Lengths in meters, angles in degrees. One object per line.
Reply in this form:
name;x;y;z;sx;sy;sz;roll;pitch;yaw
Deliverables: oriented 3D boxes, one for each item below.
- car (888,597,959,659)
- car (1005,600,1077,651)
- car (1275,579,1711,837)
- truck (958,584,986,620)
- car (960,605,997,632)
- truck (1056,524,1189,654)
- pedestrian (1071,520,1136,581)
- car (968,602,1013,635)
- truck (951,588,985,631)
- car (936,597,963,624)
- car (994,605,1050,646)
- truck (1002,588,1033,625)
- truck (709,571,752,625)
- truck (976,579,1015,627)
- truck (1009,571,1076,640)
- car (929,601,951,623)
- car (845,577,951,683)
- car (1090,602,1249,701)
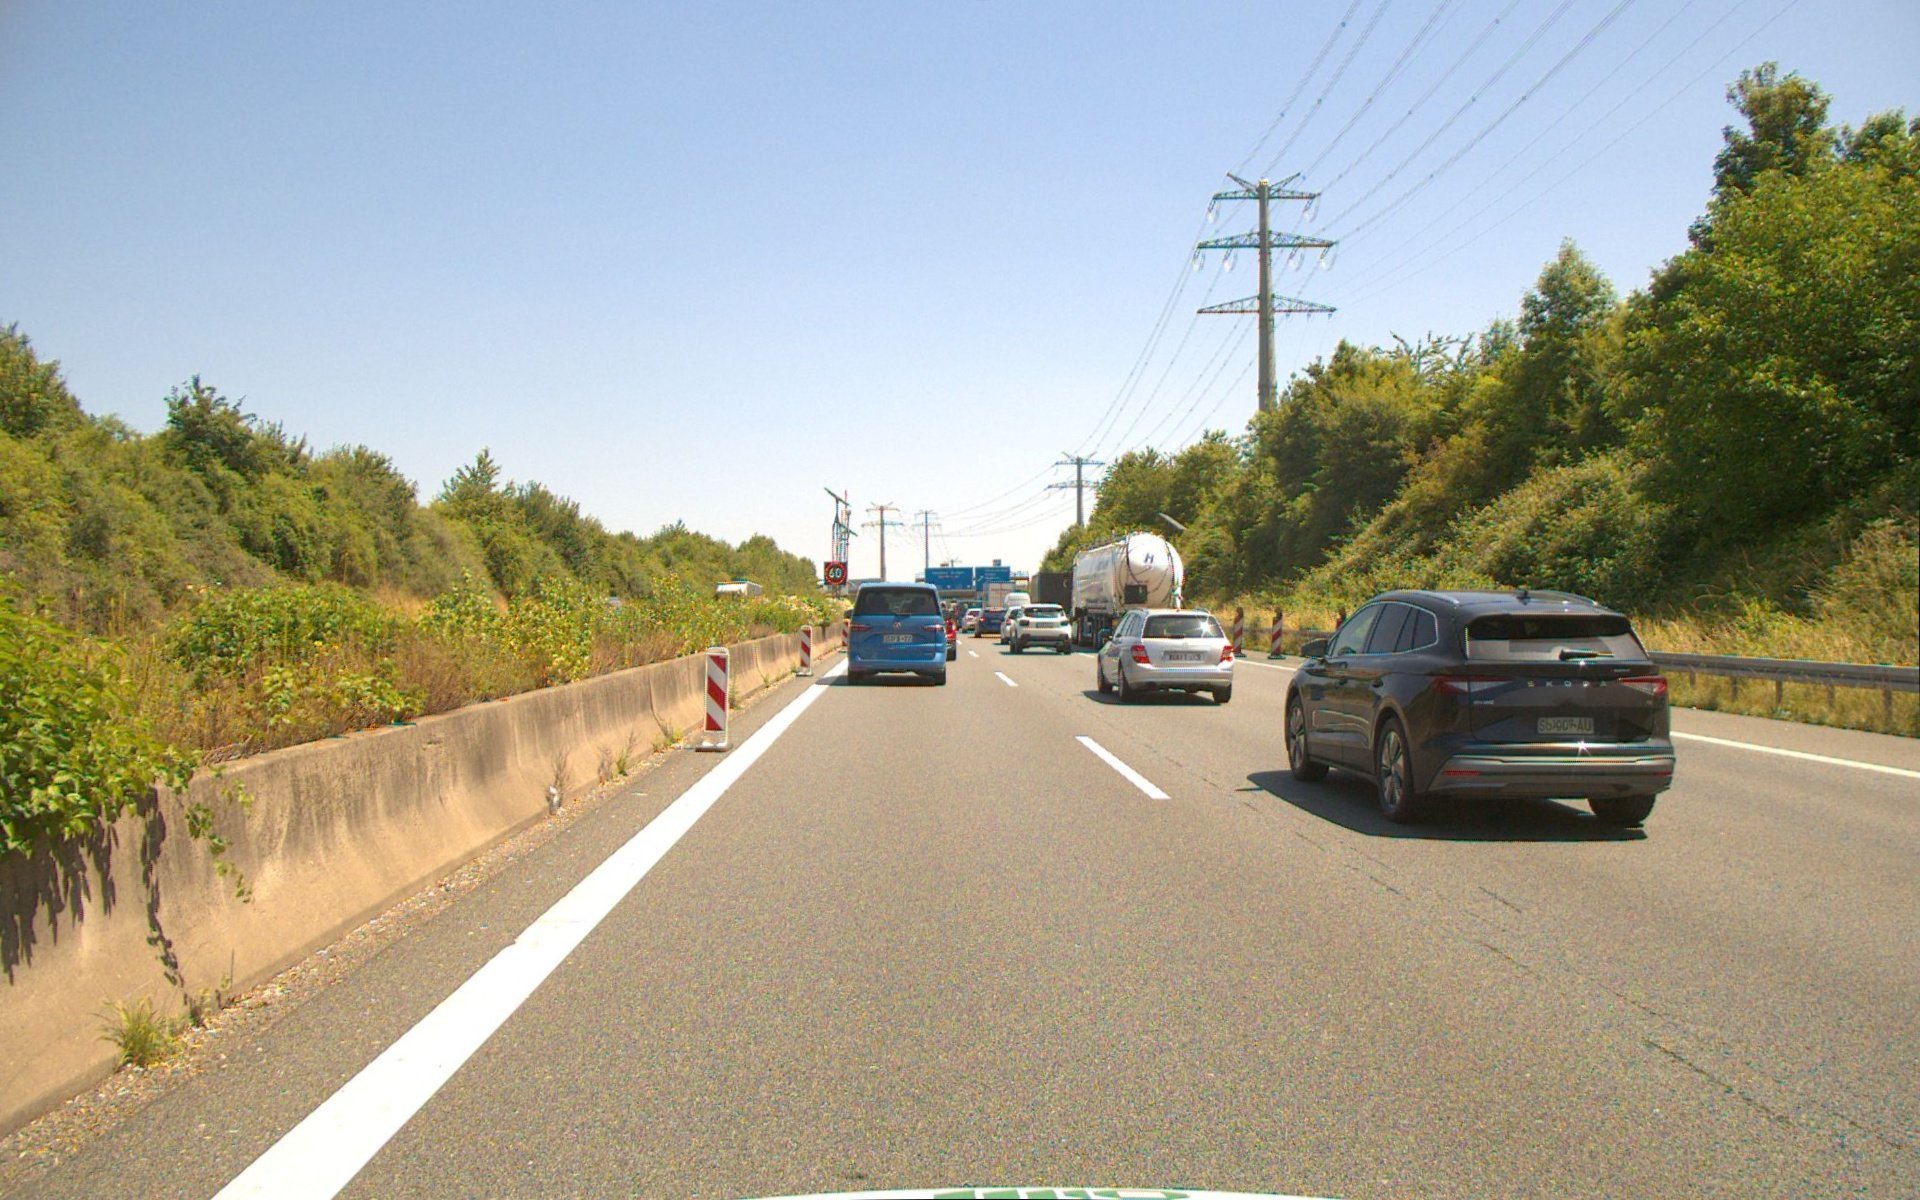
car;-1.061;0.752;46.003;1.870;1.659;4.381;0;0;-3
car;2.519;0.801;52.463;1.870;1.534;3.919;1;0;-3
car;3.837;0.691;12.786;1.791;1.643;4.428;0;0;-2
truck;1.453;0.289;209.821;2.879;4.366;12.545;1;0;-2
car;1.060;1.080;96.631;1.870;1.542;4.380;1;0;-3
truck;5.683;-0.312;61.208;2.592;4.143;16.432;1;0;-2
pedestrian;5.179;-1.766;60.130;1.953;2.049;3.999;1;0;-1
car;1.472;0.883;80.979;1.870;1.542;4.380;1;0;-3
truck;0.531;0.648;109.683;1.953;2.771;5.677;1;0;-2
car;-0.841;0.853;132.483;1.953;2.049;3.998;1;0;-3
car;2.470;1.012;66.778;1.870;1.597;4.380;1;0;-3
truck;4.407;0.529;128.074;1.953;2.771;5.677;1;0;-2
truck;-19.290;-0.140;139.060;2.696;4.239;6.408;-3;0;-2
truck;3.332;0.303;157.869;2.879;4.366;12.545;1;0;-2
truck;4.573;0.321;93.884;2.592;3.601;12.545;1;0;-2
car;-1.902;1.126;154.748;1.953;2.049;3.999;1;0;-1
car;-1.271;0.558;32.311;1.834;1.912;4.379;1;0;-5
car;3.321;0.790;27.004;1.785;1.462;4.380;1;0;-3
